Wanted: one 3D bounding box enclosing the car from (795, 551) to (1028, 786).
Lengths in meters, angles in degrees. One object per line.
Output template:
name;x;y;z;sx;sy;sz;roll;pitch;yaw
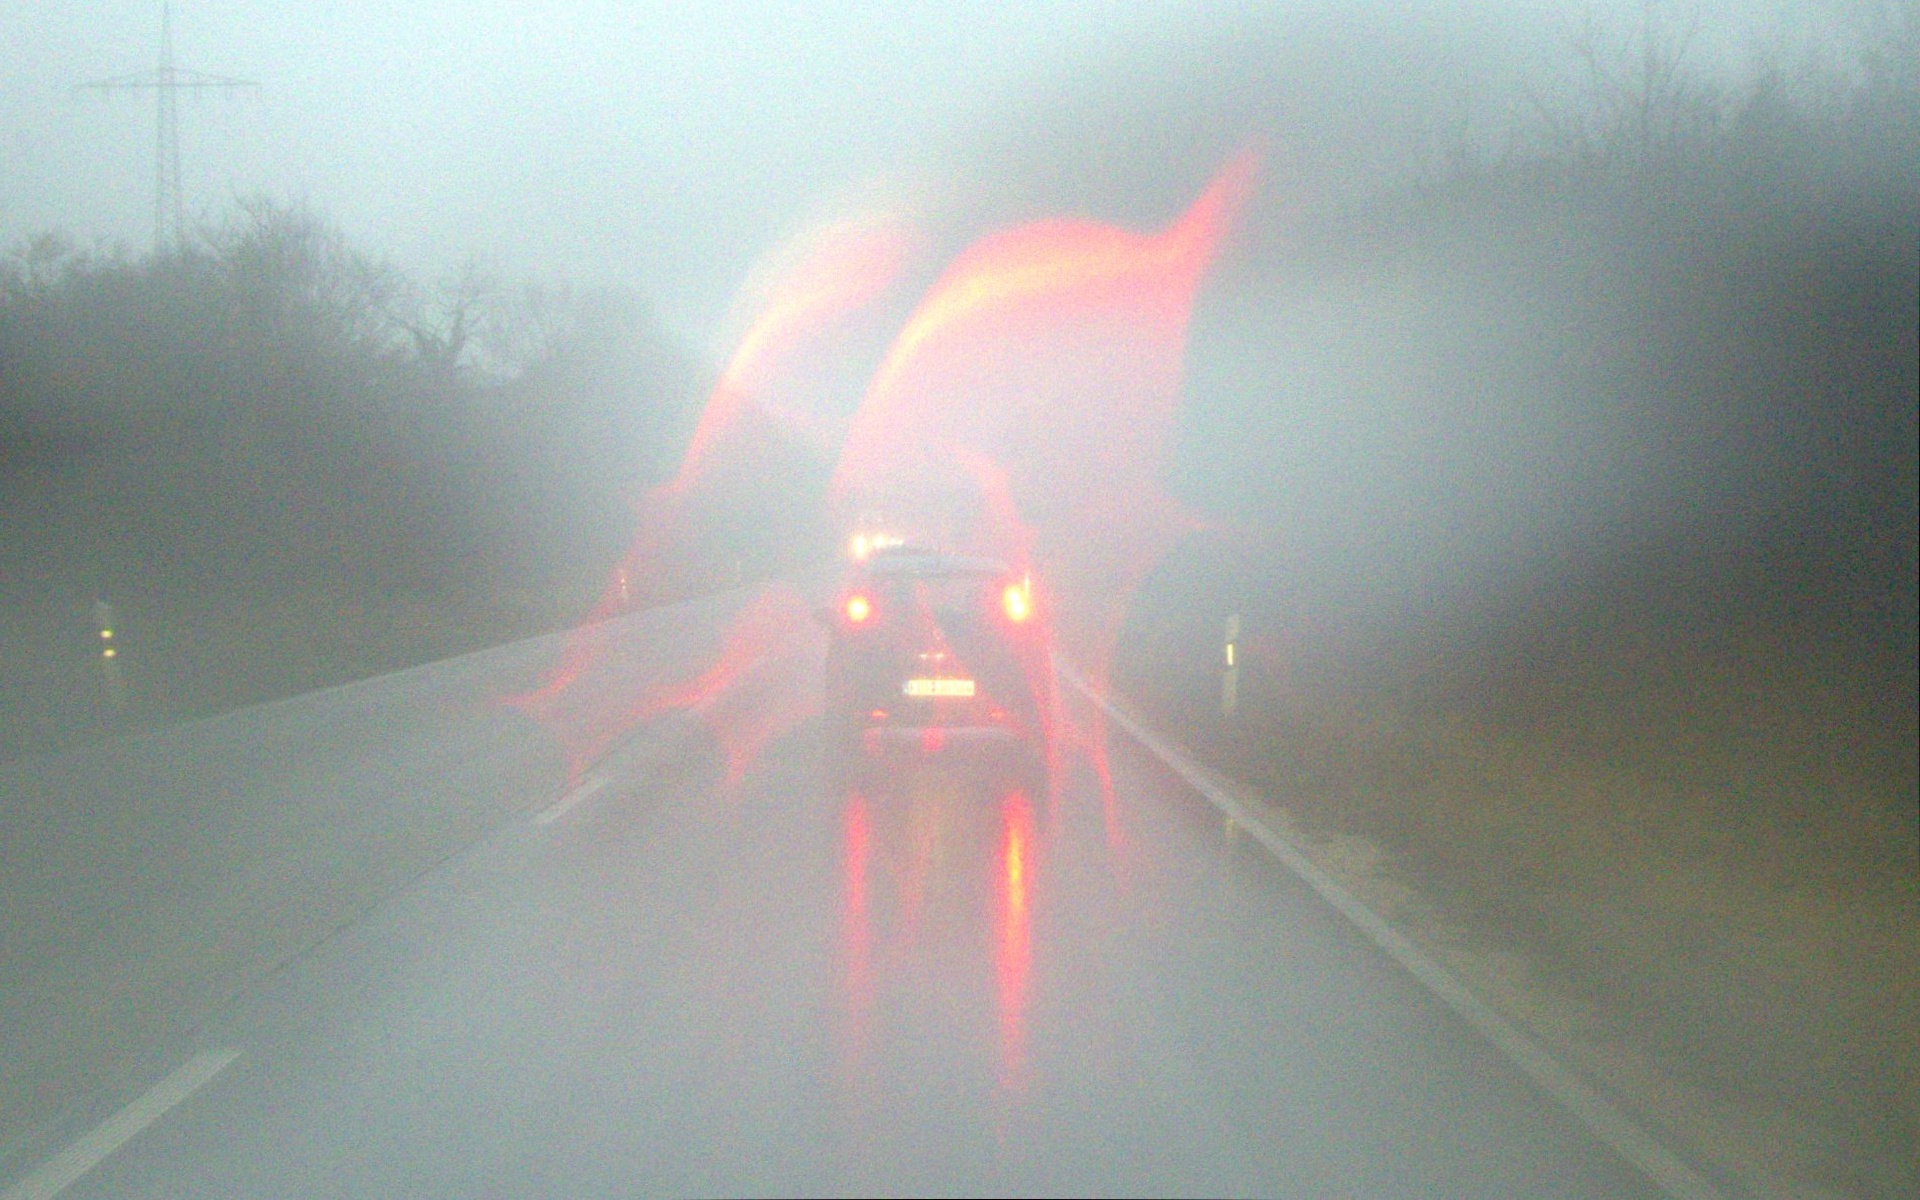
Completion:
car;-0.369;0.468;26.429;1.648;1.666;3.514;1;1;-1

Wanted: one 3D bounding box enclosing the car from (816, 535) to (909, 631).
car;-1.860;-0.341;66.359;1.733;1.773;4.000;1;1;-1
